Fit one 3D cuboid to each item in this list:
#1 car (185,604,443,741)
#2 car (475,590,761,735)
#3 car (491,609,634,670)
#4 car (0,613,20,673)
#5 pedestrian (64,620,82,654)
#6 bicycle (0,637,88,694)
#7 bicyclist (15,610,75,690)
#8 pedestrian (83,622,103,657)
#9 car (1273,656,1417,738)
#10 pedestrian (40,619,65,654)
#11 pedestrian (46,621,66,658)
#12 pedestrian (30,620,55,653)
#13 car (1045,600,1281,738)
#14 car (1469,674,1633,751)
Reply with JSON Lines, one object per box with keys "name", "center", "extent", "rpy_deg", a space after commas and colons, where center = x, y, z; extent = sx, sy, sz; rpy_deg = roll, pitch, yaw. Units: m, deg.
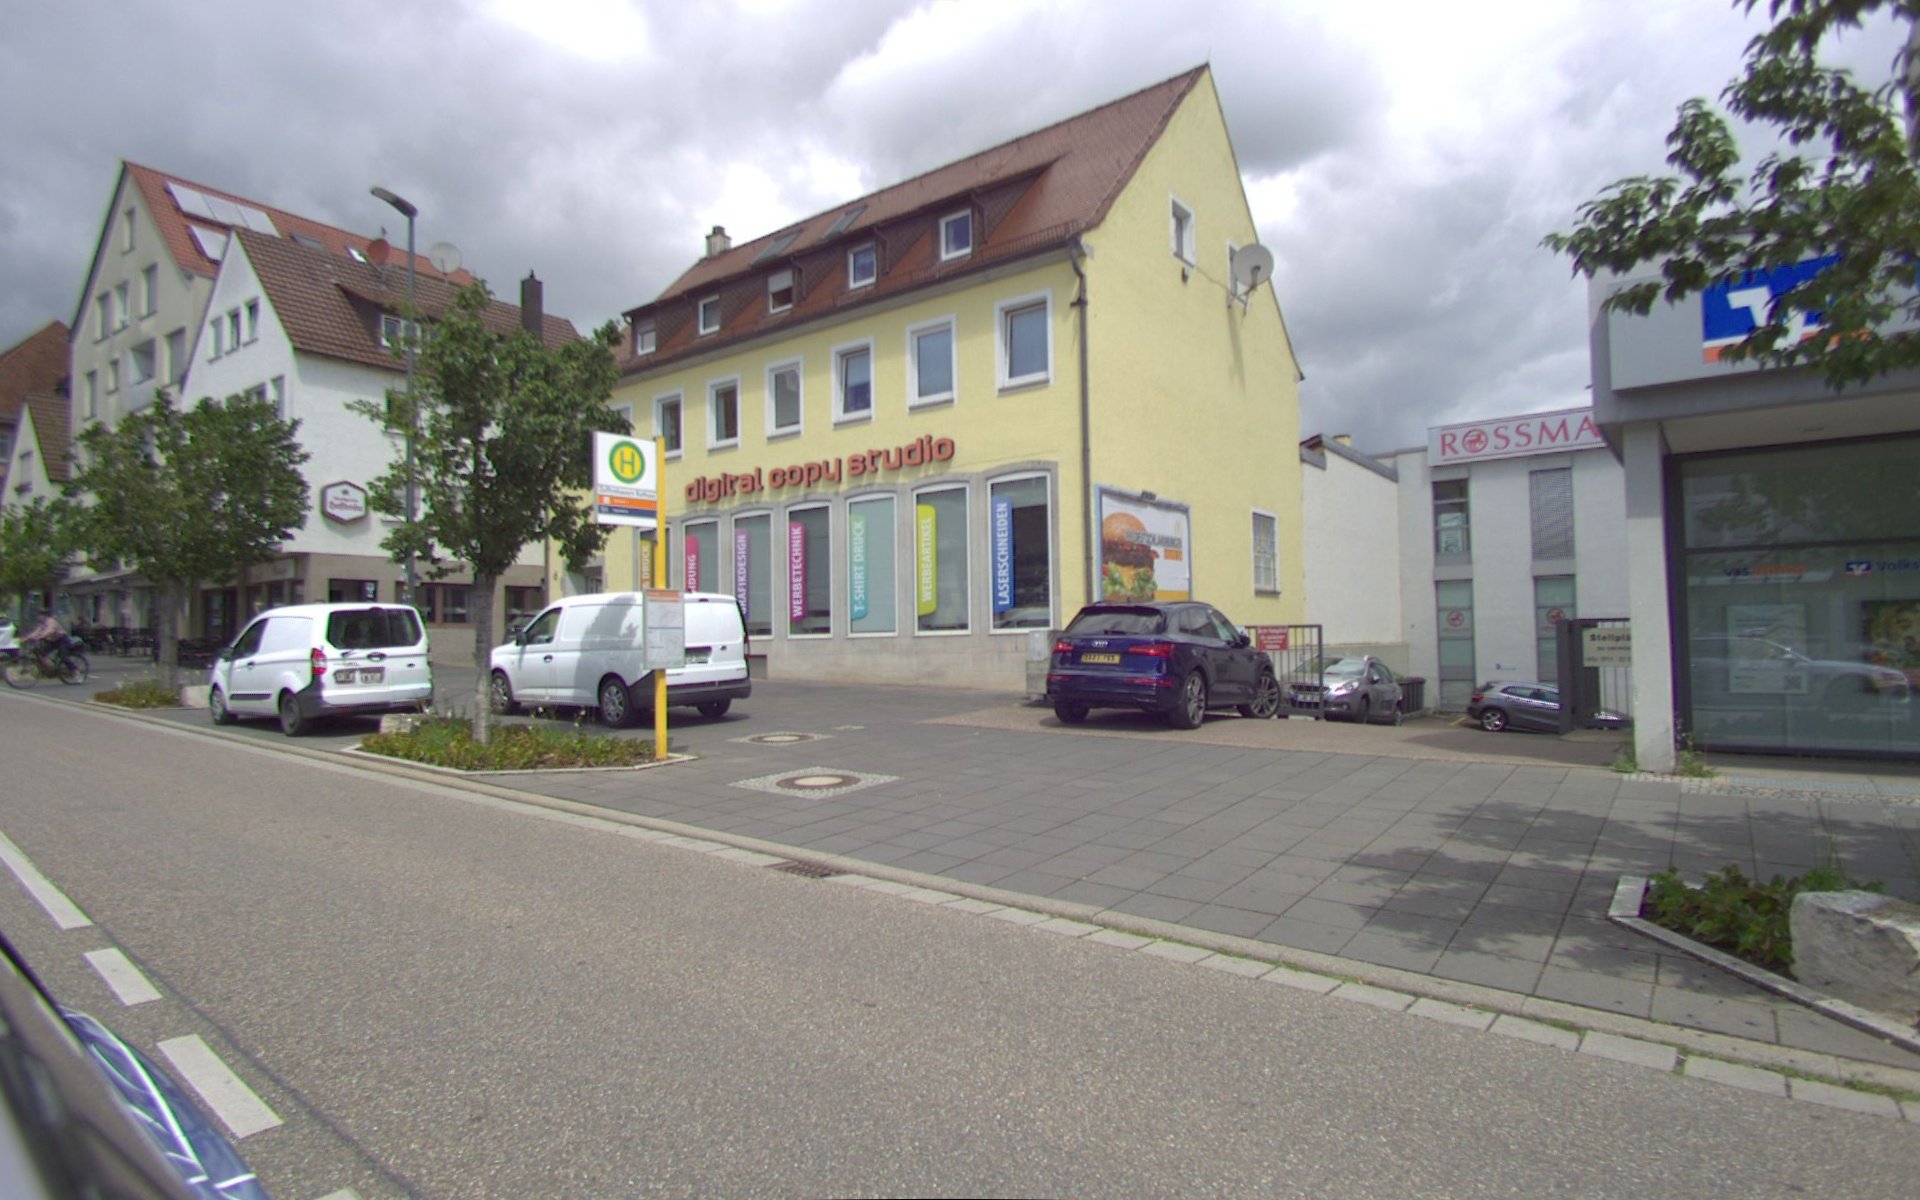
{"name": "car", "center": [-9.286, 0.920, 14.423], "extent": [4.342, 1.684, 1.641], "rpy_deg": [-1, -1, 36]}
{"name": "car", "center": [-5.081, 0.804, 14.747], "extent": [4.469, 1.827, 1.740], "rpy_deg": [-1, 0, 37]}
{"name": "car", "center": [-11.422, 1.101, 29.232], "extent": [1.728, 1.663, 3.497], "rpy_deg": [-2, -1, 35]}
{"name": "car", "center": [-28.650, 1.225, 29.114], "extent": [4.126, 1.659, 1.650], "rpy_deg": [0, 0, 37]}
{"name": "pedestrian", "center": [-32.913, 1.355, 37.544], "extent": [0.498, 1.259, 0.391], "rpy_deg": [-1, -1, 34]}
{"name": "bicycle", "center": [-20.133, 1.407, 22.250], "extent": [0.408, 1.095, 1.651], "rpy_deg": [1, 1, 5]}
{"name": "bicyclist", "center": [-20.137, 1.094, 22.292], "extent": [0.504, 1.708, 0.776], "rpy_deg": [1, -3, 8]}
{"name": "pedestrian", "center": [-31.552, 1.418, 36.827], "extent": [0.565, 1.259, 0.423], "rpy_deg": [-1, -1, 34]}
{"name": "car", "center": [7.849, 1.875, 20.437], "extent": [1.647, 1.420, 3.949], "rpy_deg": [-1, -3, 38]}
{"name": "pedestrian", "center": [-33.174, 1.330, 36.998], "extent": [0.597, 1.277, 0.545], "rpy_deg": [0, -1, 34]}
{"name": "pedestrian", "center": [-32.107, 1.408, 35.954], "extent": [0.453, 1.309, 0.417], "rpy_deg": [-1, -1, 34]}
{"name": "pedestrian", "center": [-35.378, 1.390, 39.010], "extent": [0.597, 1.256, 0.590], "rpy_deg": [0, -1, 34]}
{"name": "car", "center": [2.798, 0.802, 13.432], "extent": [1.666, 1.570, 3.593], "rpy_deg": [-1, -1, 38]}
{"name": "car", "center": [17.010, 3.176, 29.202], "extent": [3.897, 1.585, 1.654], "rpy_deg": [5, 1, 33]}
